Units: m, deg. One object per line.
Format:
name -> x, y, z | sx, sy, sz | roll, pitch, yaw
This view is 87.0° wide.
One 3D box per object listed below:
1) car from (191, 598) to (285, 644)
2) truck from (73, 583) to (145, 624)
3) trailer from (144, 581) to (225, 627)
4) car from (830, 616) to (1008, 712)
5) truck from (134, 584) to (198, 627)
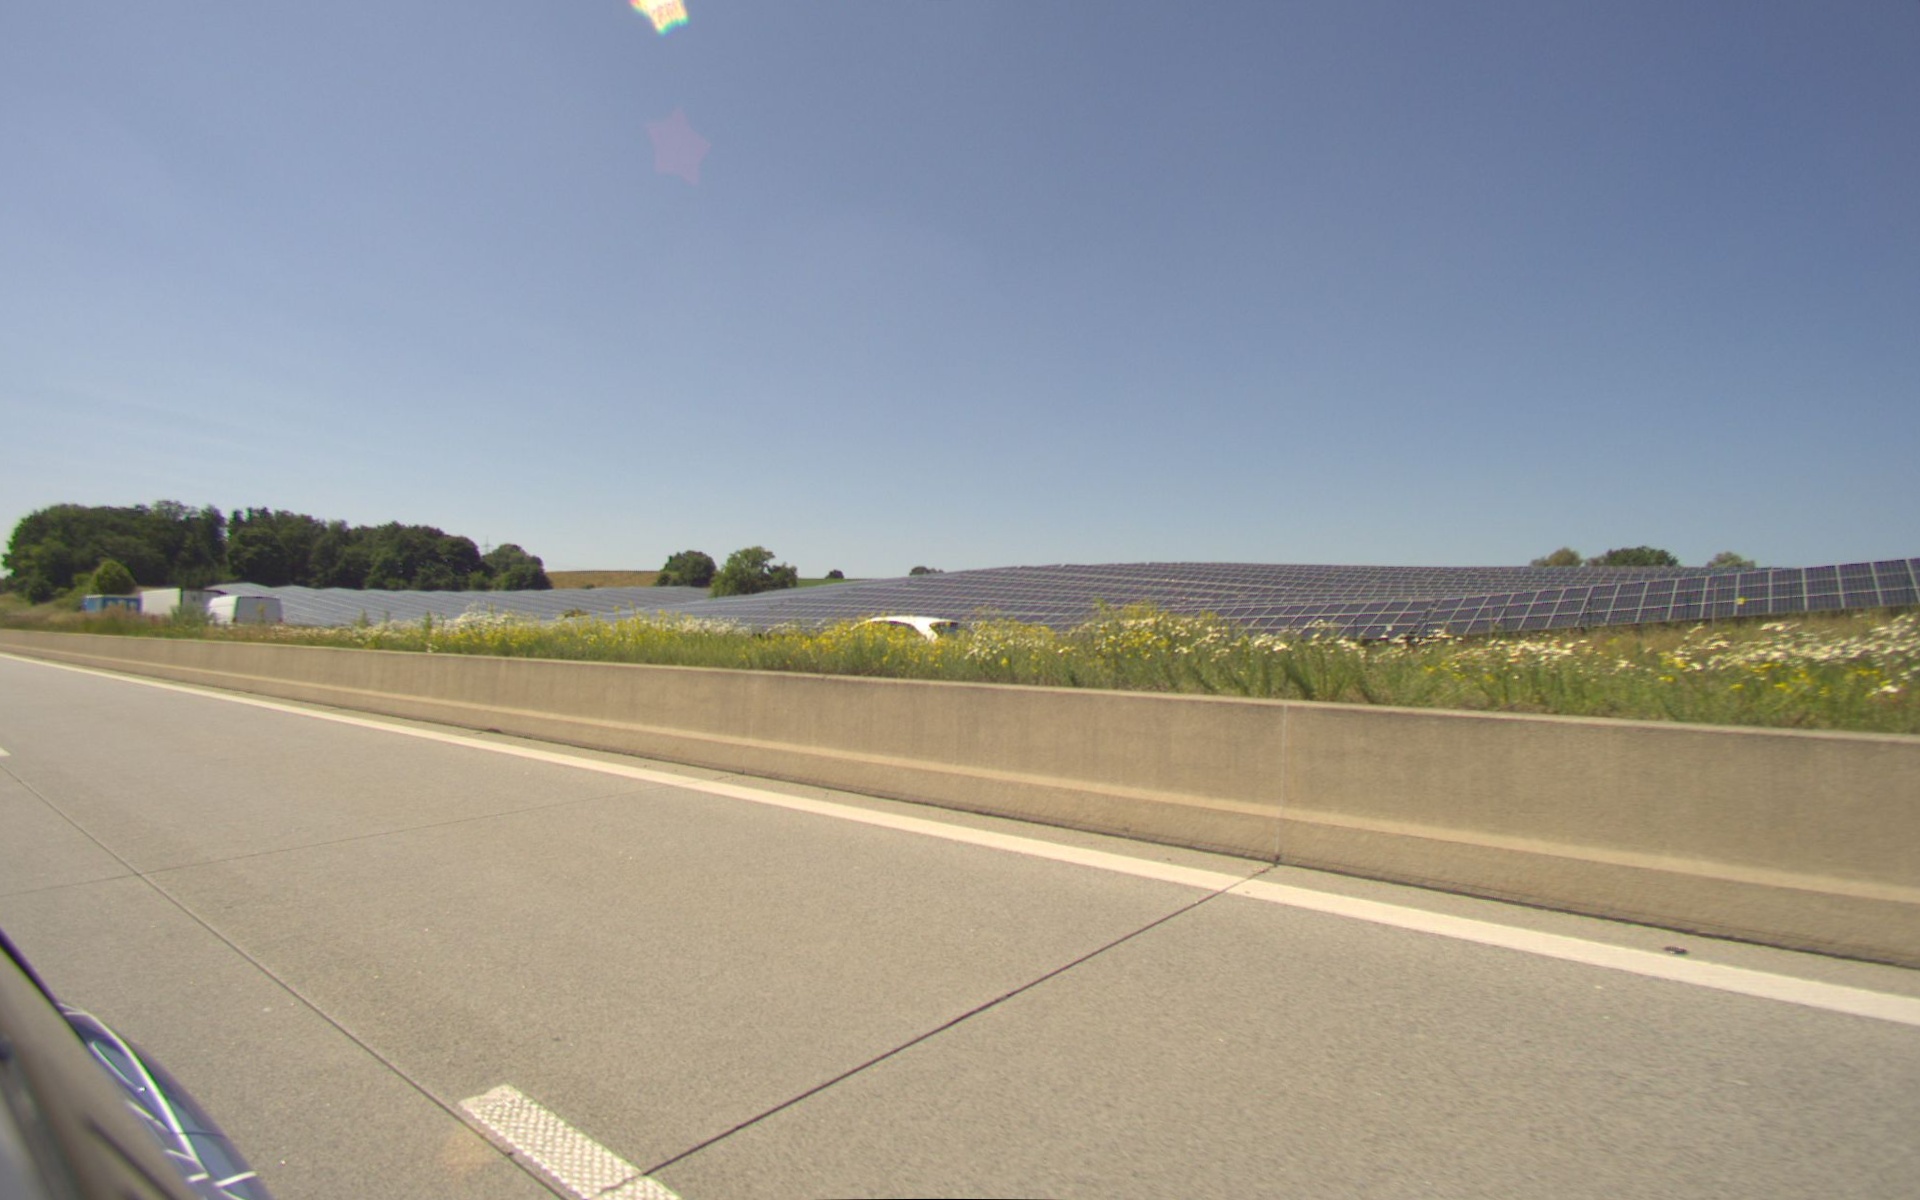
car -> -34.763, 0.967, 48.622 | 6.343, 2.029, 2.161 | 0, 0, 40
truck -> -68.240, 0.260, 81.081 | 10.369, 3.087, 2.795 | 0, 0, 41
trailer -> -63.470, 0.307, 82.671 | 11.758, 3.551, 3.042 | 0, 0, 41
car -> -0.755, 1.041, 17.594 | 2.965, 1.494, 1.391 | -1, 0, 41
truck -> -68.257, 0.457, 86.935 | 6.882, 3.513, 3.090 | -1, 0, 41
